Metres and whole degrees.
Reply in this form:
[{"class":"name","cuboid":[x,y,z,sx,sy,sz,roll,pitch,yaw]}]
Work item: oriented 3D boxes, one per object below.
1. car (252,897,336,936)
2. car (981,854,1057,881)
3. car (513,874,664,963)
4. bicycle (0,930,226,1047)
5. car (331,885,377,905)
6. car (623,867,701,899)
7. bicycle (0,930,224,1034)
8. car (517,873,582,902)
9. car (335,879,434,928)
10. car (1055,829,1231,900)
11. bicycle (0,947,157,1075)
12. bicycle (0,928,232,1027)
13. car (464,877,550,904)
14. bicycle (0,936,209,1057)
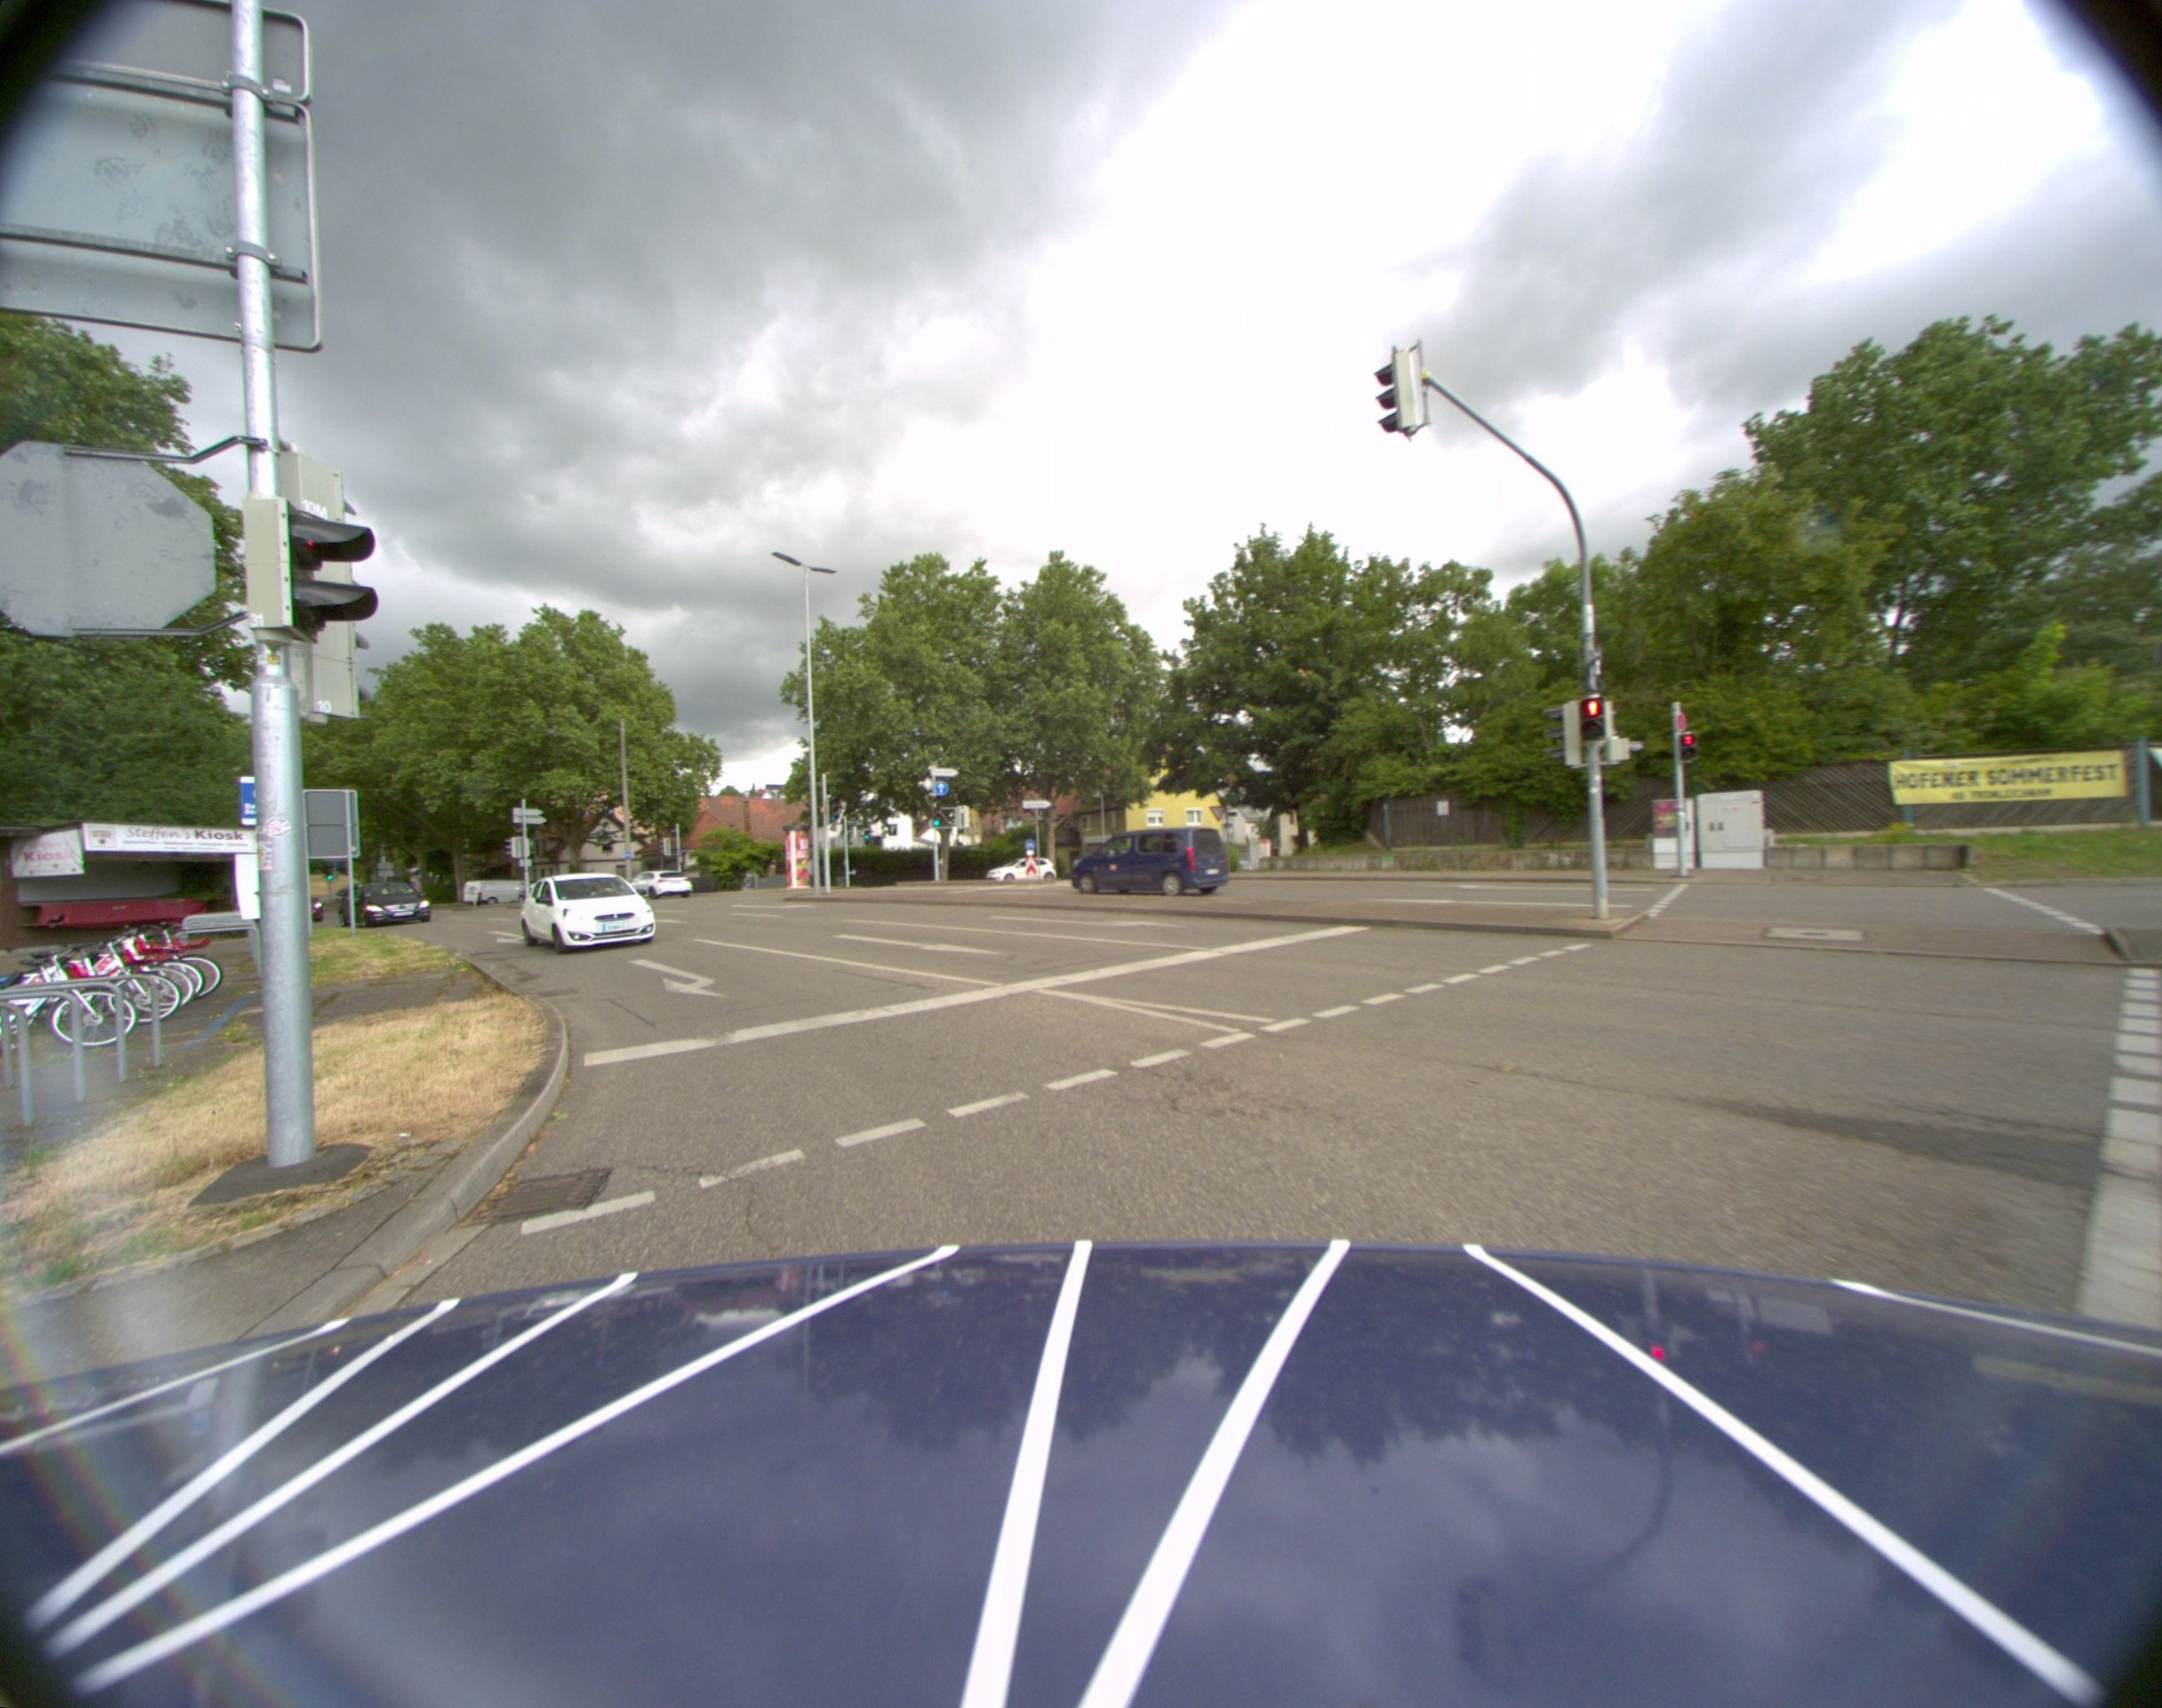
[{"class":"car","cuboid":[-38.244,2.991,36.906,4.496,1.607,1.900,-1,2,33]},{"class":"car","cuboid":[-3.476,0.761,42.757,3.809,1.313,1.808,-3,0,-30]},{"class":"car","cuboid":[-10.102,1.205,15.489,3.594,1.440,1.677,-1,3,43]},{"class":"bicycle","cuboid":[-12.211,1.642,9.581,0.580,1.110,1.817,1,3,44]},{"class":"car","cuboid":[-52.244,2.929,54.589,3.629,1.306,1.677,-2,1,35]},{"class":"car","cuboid":[-20.896,1.462,37.845,4.107,1.331,1.815,-3,2,38]},{"class":"bicycle","cuboid":[-12.936,1.664,10.130,1.887,1.046,0.596,-4,2,-42]},{"class":"car","cuboid":[-29.982,1.888,42.852,3.989,1.439,1.735,-2,1,36]},{"class":"car","cuboid":[-25.085,1.768,27.323,4.176,1.522,1.725,-3,1,36]},{"class":"car","cuboid":[1.597,0.266,20.549,4.463,1.696,1.834,-1,2,41]},{"class":"bicycle","cuboid":[-10.991,1.650,7.796,0.580,1.110,1.817,1,3,44]},{"class":"bicycle","cuboid":[-13.385,1.679,10.646,1.887,1.046,0.596,-4,2,-42]},{"class":"car","cuboid":[-42.973,2.704,57.044,1.727,1.689,4.897,-2,0,21]},{"class":"bicycle","cuboid":[-11.733,1.654,8.965,0.580,1.110,1.817,1,3,44]}]
